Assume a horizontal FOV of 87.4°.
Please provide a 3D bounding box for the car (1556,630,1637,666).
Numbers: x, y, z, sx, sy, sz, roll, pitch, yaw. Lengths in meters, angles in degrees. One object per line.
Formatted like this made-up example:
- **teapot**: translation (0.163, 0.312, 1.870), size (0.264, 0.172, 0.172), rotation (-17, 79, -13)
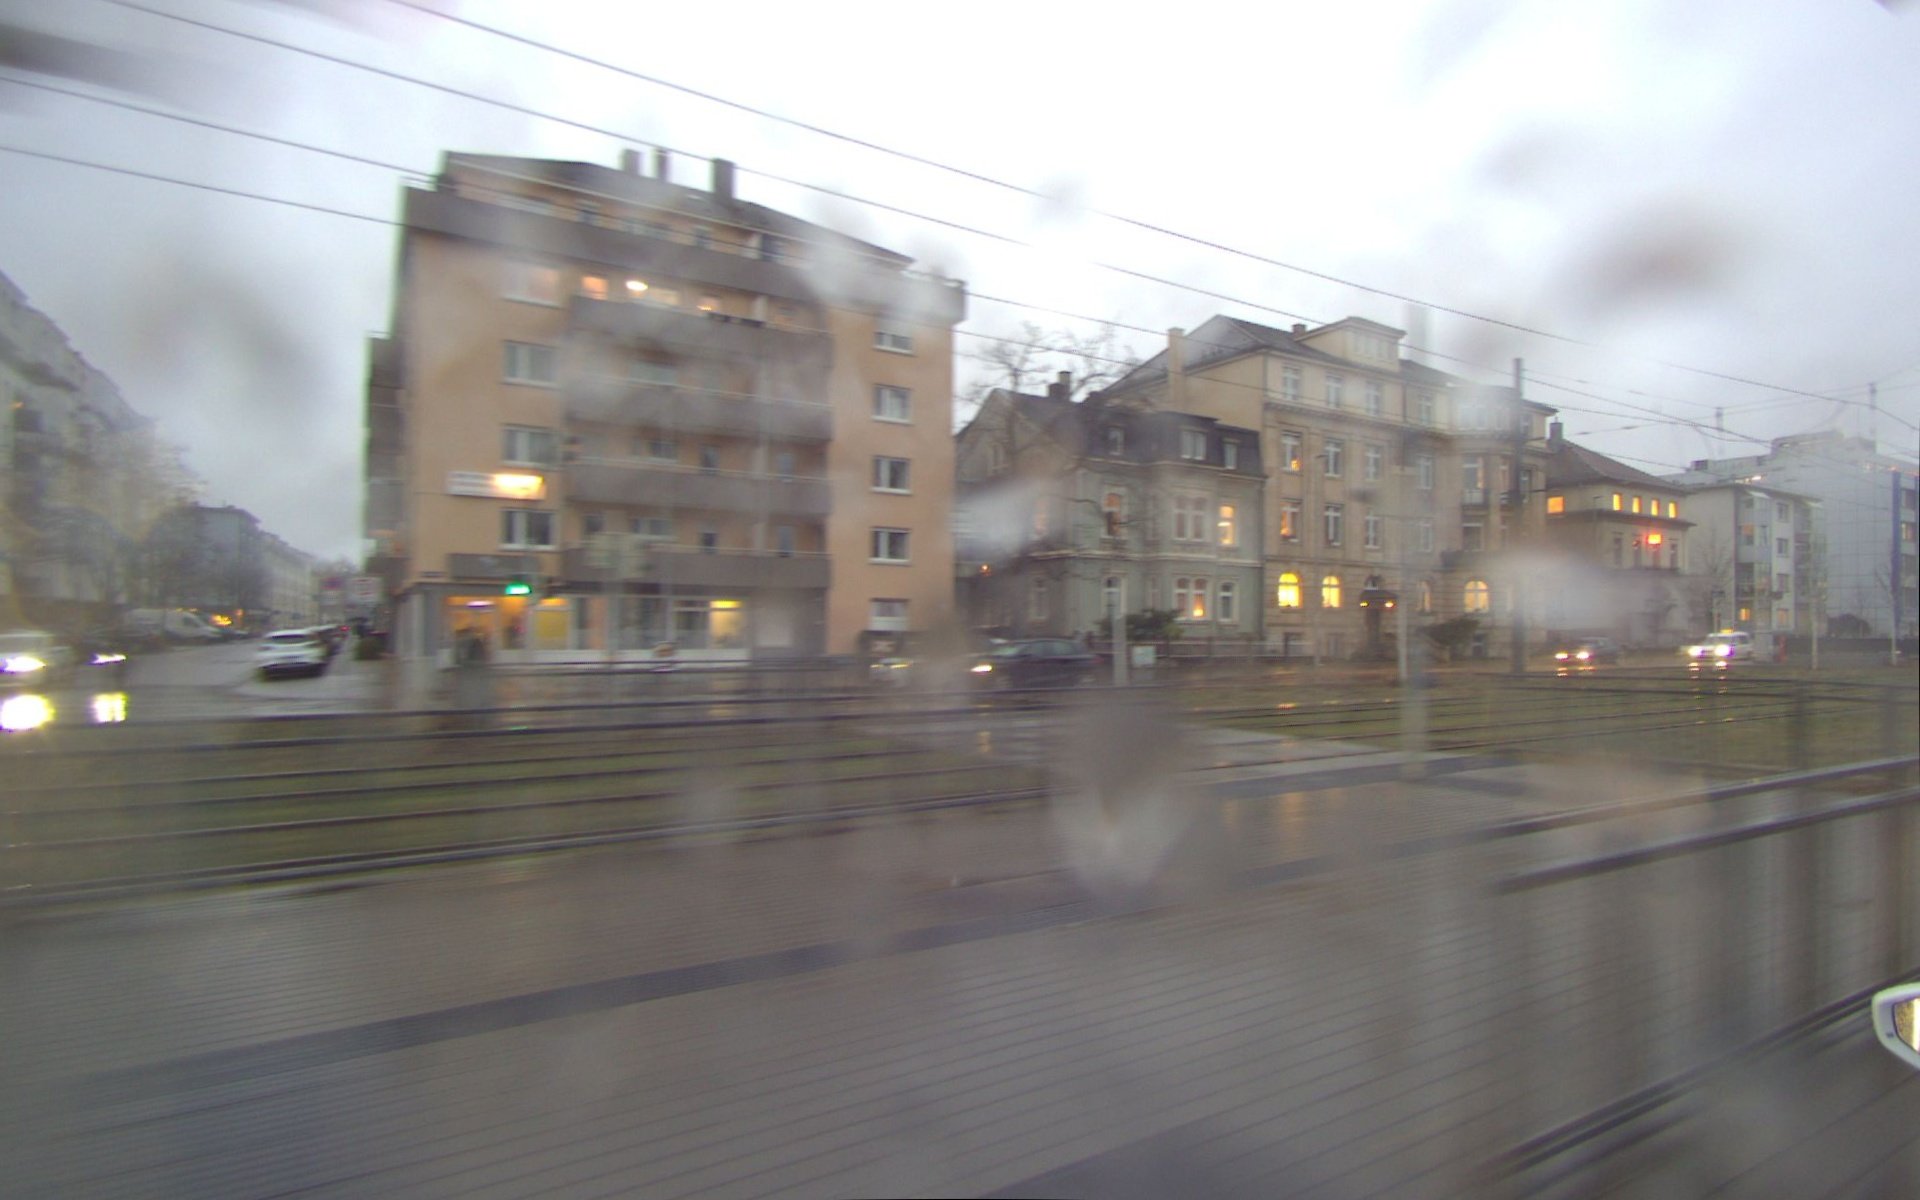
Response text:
- **car**: translation (32.263, 2.401, 50.881), size (4.068, 1.715, 1.982), rotation (1, -2, -34)

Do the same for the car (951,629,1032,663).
- **car**: translation (1.373, 2.055, 45.531), size (1.813, 1.425, 3.965), rotation (1, -1, -32)

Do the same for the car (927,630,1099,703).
- **car**: translation (1.342, 1.631, 25.064), size (3.956, 1.606, 1.791), rotation (2, 0, -32)

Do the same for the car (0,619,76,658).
- **car**: translation (-36.501, 1.479, 38.596), size (3.543, 1.439, 1.822), rotation (2, -1, -34)

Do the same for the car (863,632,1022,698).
- **car**: translation (-0.456, 1.757, 27.433), size (3.956, 1.606, 1.791), rotation (2, 0, -32)

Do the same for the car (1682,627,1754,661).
- **car**: translation (45.525, 2.639, 60.333), size (4.861, 1.958, 1.982), rotation (1, -2, -34)

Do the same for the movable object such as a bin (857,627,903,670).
- **movable object such as a bin**: translation (-3.066, 1.851, 38.566), size (1.410, 1.581, 1.101), rotation (1, -2, -34)

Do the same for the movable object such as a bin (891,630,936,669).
- **movable object such as a bin**: translation (-1.816, 1.924, 39.395), size (1.410, 1.500, 1.101), rotation (1, -2, -34)

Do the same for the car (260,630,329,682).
- **car**: translation (-22.039, 1.798, 33.371), size (1.758, 1.572, 3.805), rotation (1, -1, -32)

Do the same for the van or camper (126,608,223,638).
- **van or camper**: translation (-60.354, 1.794, 77.339), size (5.567, 2.272, 1.984), rotation (1, -1, -30)

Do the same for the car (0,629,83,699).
- **car**: translation (-24.479, 1.631, 26.238), size (1.667, 1.531, 3.965), rotation (2, 0, -32)
